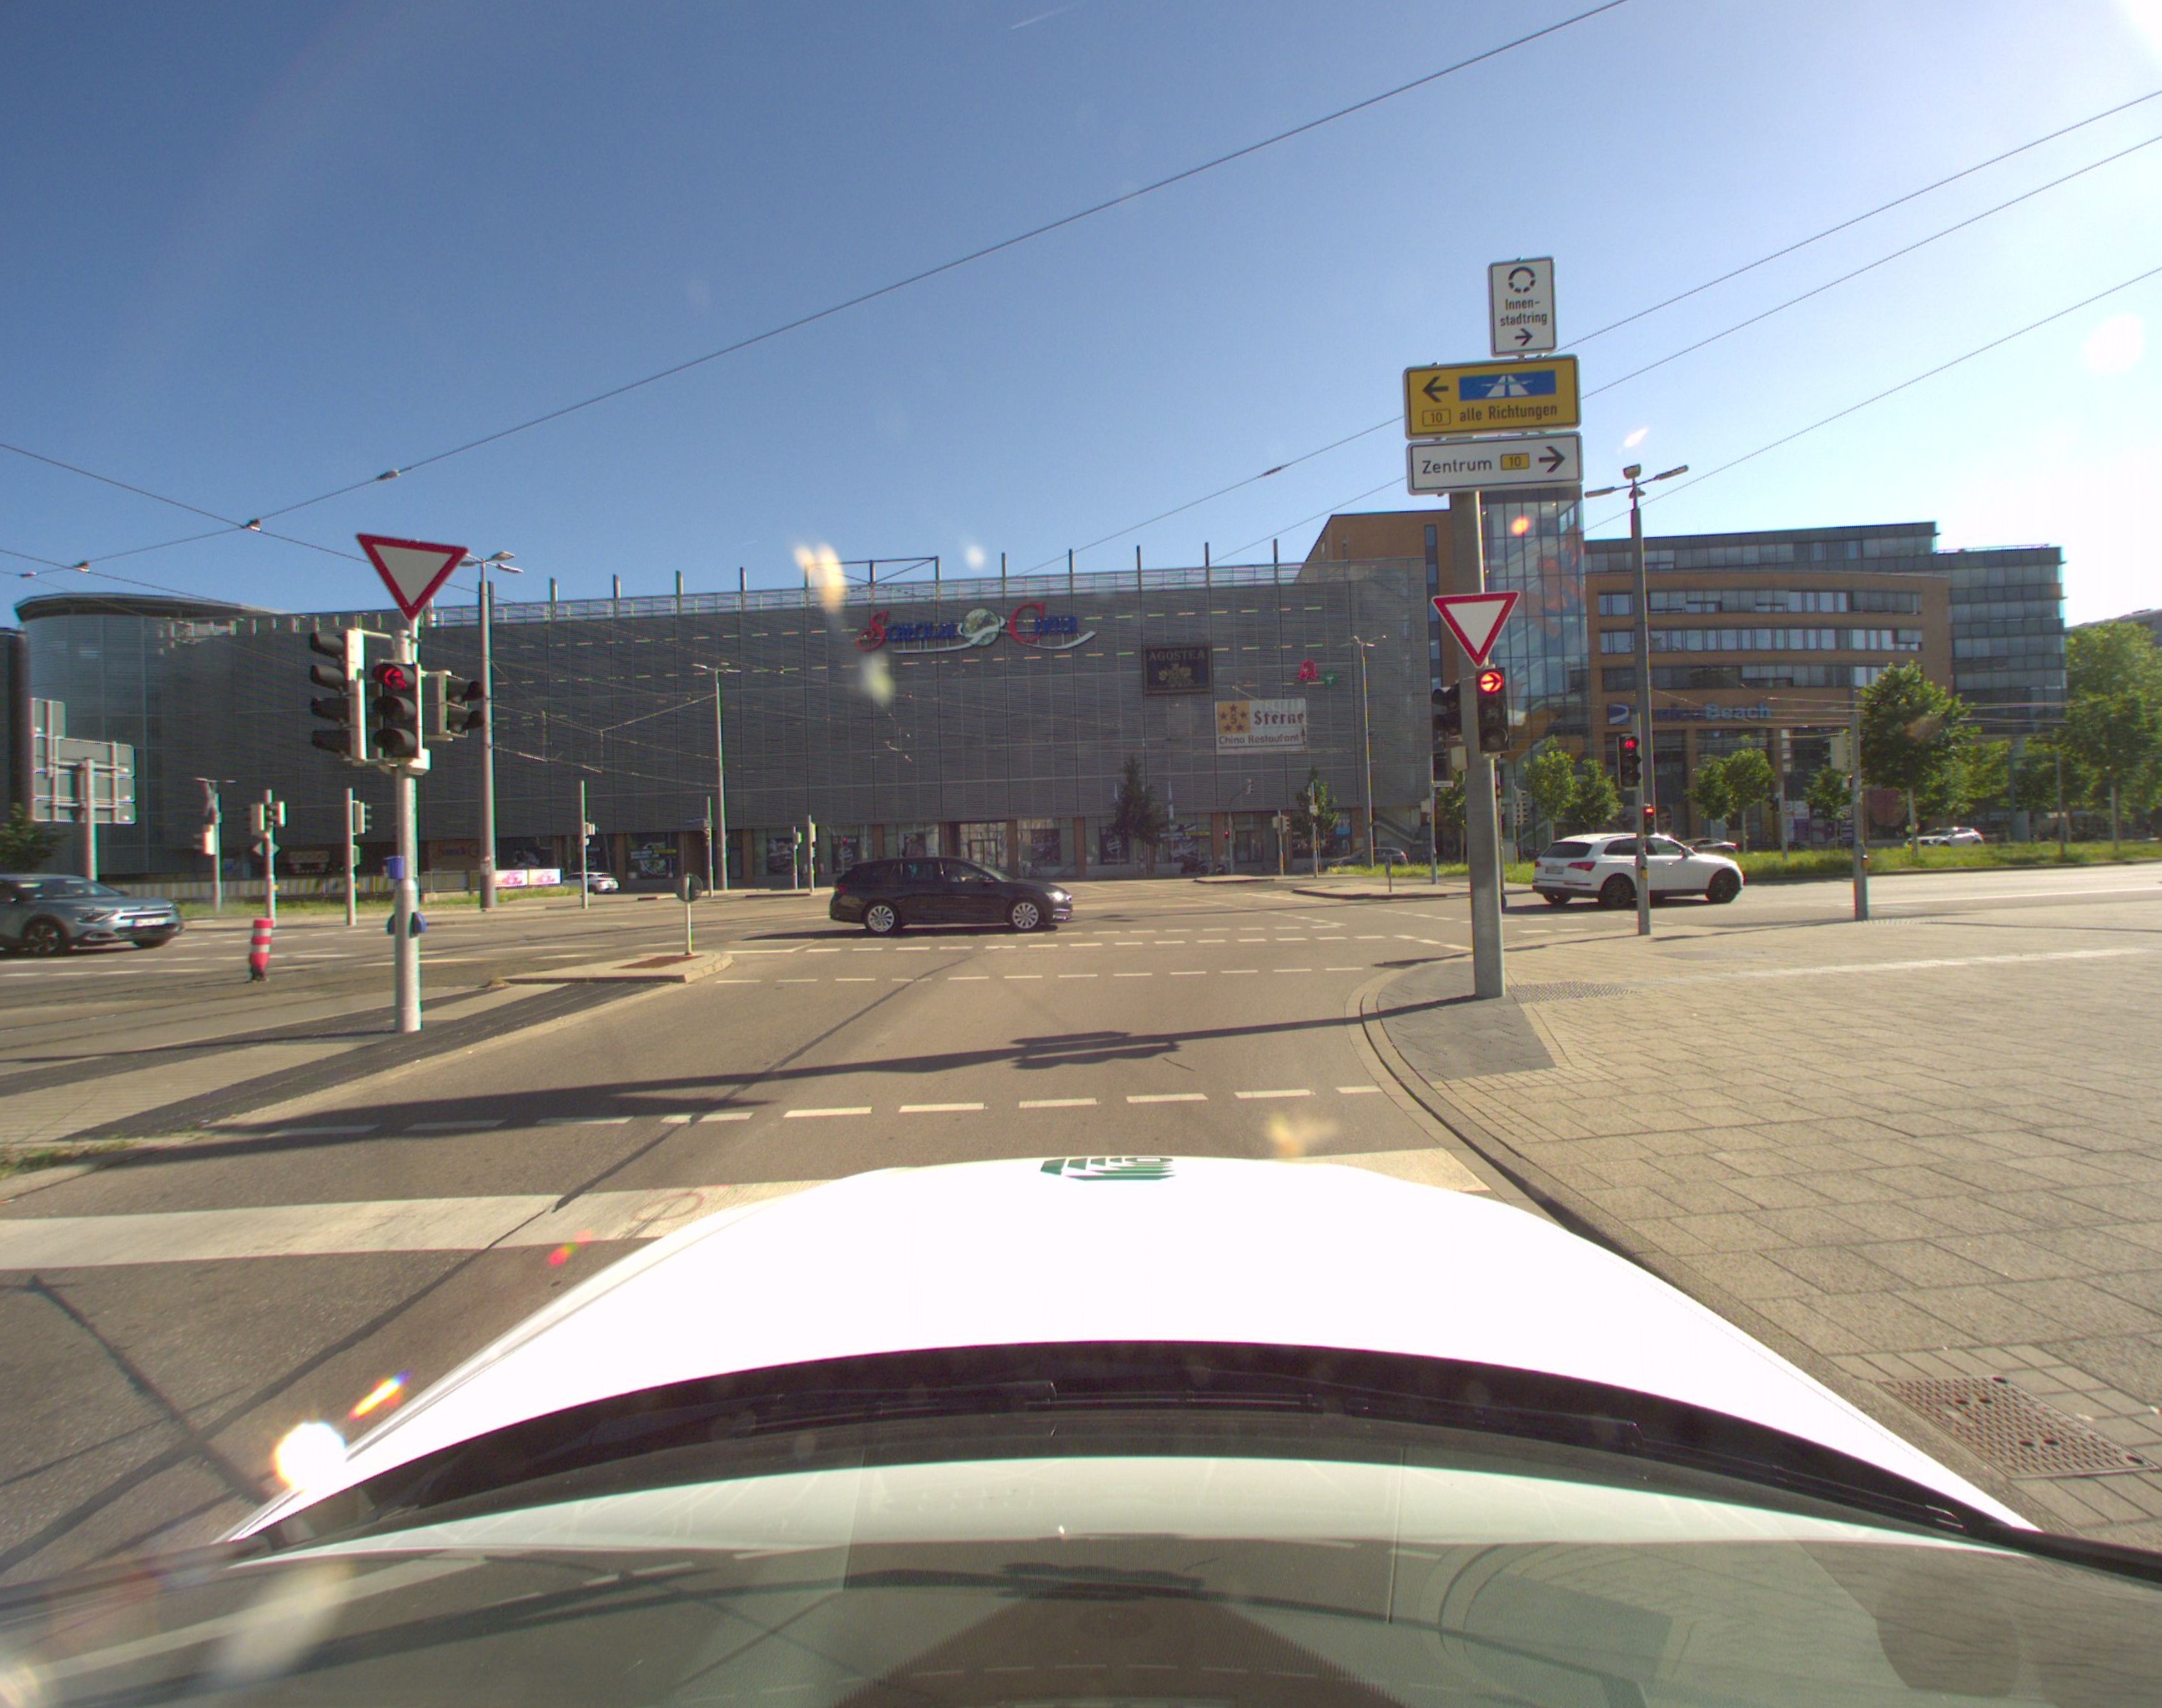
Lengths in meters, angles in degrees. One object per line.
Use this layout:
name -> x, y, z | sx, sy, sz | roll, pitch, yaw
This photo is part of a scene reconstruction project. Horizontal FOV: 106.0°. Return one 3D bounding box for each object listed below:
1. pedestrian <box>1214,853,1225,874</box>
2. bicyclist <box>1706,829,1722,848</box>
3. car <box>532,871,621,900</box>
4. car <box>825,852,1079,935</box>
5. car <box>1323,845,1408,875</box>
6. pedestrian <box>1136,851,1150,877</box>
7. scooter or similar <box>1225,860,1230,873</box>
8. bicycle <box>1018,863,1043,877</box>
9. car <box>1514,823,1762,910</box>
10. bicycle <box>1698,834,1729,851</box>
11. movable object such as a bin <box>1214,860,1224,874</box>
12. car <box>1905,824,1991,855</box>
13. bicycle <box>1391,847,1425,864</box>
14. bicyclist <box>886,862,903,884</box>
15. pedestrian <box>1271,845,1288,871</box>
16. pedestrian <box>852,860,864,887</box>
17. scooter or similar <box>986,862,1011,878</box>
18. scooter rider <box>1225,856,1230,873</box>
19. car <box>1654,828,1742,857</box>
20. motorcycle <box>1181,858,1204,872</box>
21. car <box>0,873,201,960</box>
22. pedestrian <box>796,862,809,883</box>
pedestrian -> 9.401, 0.630, 55.200 | 0.650, 1.414, 0.853 | -1, -1, 12
bicyclist -> 46.917, -1.126, 60.380 | 0.750, 1.386, 0.566 | -2, 1, 1
car -> -31.155, 1.936, 50.366 | 4.274, 1.645, 1.841 | 2, -1, 1
car -> -2.411, 0.723, 16.044 | 4.658, 1.462, 1.831 | -1, 0, -4
car -> 15.879, 0.348, 45.617 | 4.132, 1.470, 1.841 | 2, -1, 0
pedestrian -> 4.546, 0.710, 59.655 | 0.945, 1.829, 0.847 | -3, -4, 7
scooter or similar -> 9.916, 0.868, 55.005 | 0.293, 0.873, 1.007 | -1, -1, 12
bicycle -> -3.785, 1.172, 60.788 | 1.815, 0.989, 0.556 | -2, 1, -8
car -> 12.662, 0.251, 18.623 | 4.670, 1.707, 1.930 | -2, 0, -11
bicycle -> 46.876, -0.874, 60.374 | 1.850, 1.217, 0.569 | -2, 1, 1
movable object such as a bin -> 9.267, 0.880, 54.737 | 0.608, 0.904, 0.972 | -1, -1, 12
car -> 56.483, -0.947, 53.064 | 4.330, 1.863, 1.833 | -1, -1, -13
bicycle -> 24.339, 0.111, 60.616 | 2.247, 1.296, 0.606 | 0, -1, 0
bicyclist -> -12.633, 1.272, 55.235 | 0.667, 1.427, 0.855 | -1, 2, 45
pedestrian -> 14.377, 0.288, 58.942 | 1.007, 1.828, 1.037 | -3, 0, 5
pedestrian -> -15.207, 1.308, 55.460 | 0.695, 1.797, 0.727 | -3, 0, -14
scooter or similar -> -6.188, 1.201, 61.229 | 1.790, 1.066, 0.611 | -2, 1, -6
scooter rider -> 9.903, 0.704, 54.946 | 0.286, 1.200, 0.387 | -1, -1, 12
car -> 38.127, -0.707, 50.366 | 4.284, 1.584, 1.836 | 2, -1, -7
motorcycle -> 8.309, 0.829, 60.593 | 1.630, 1.004, 0.448 | 0, 0, 8
car -> -19.900, 1.160, 15.548 | 4.251, 1.514, 1.708 | -1, 0, -1
pedestrian -> -21.465, 1.441, 62.761 | 0.654, 1.601, 0.597 | -1, -1, 20
